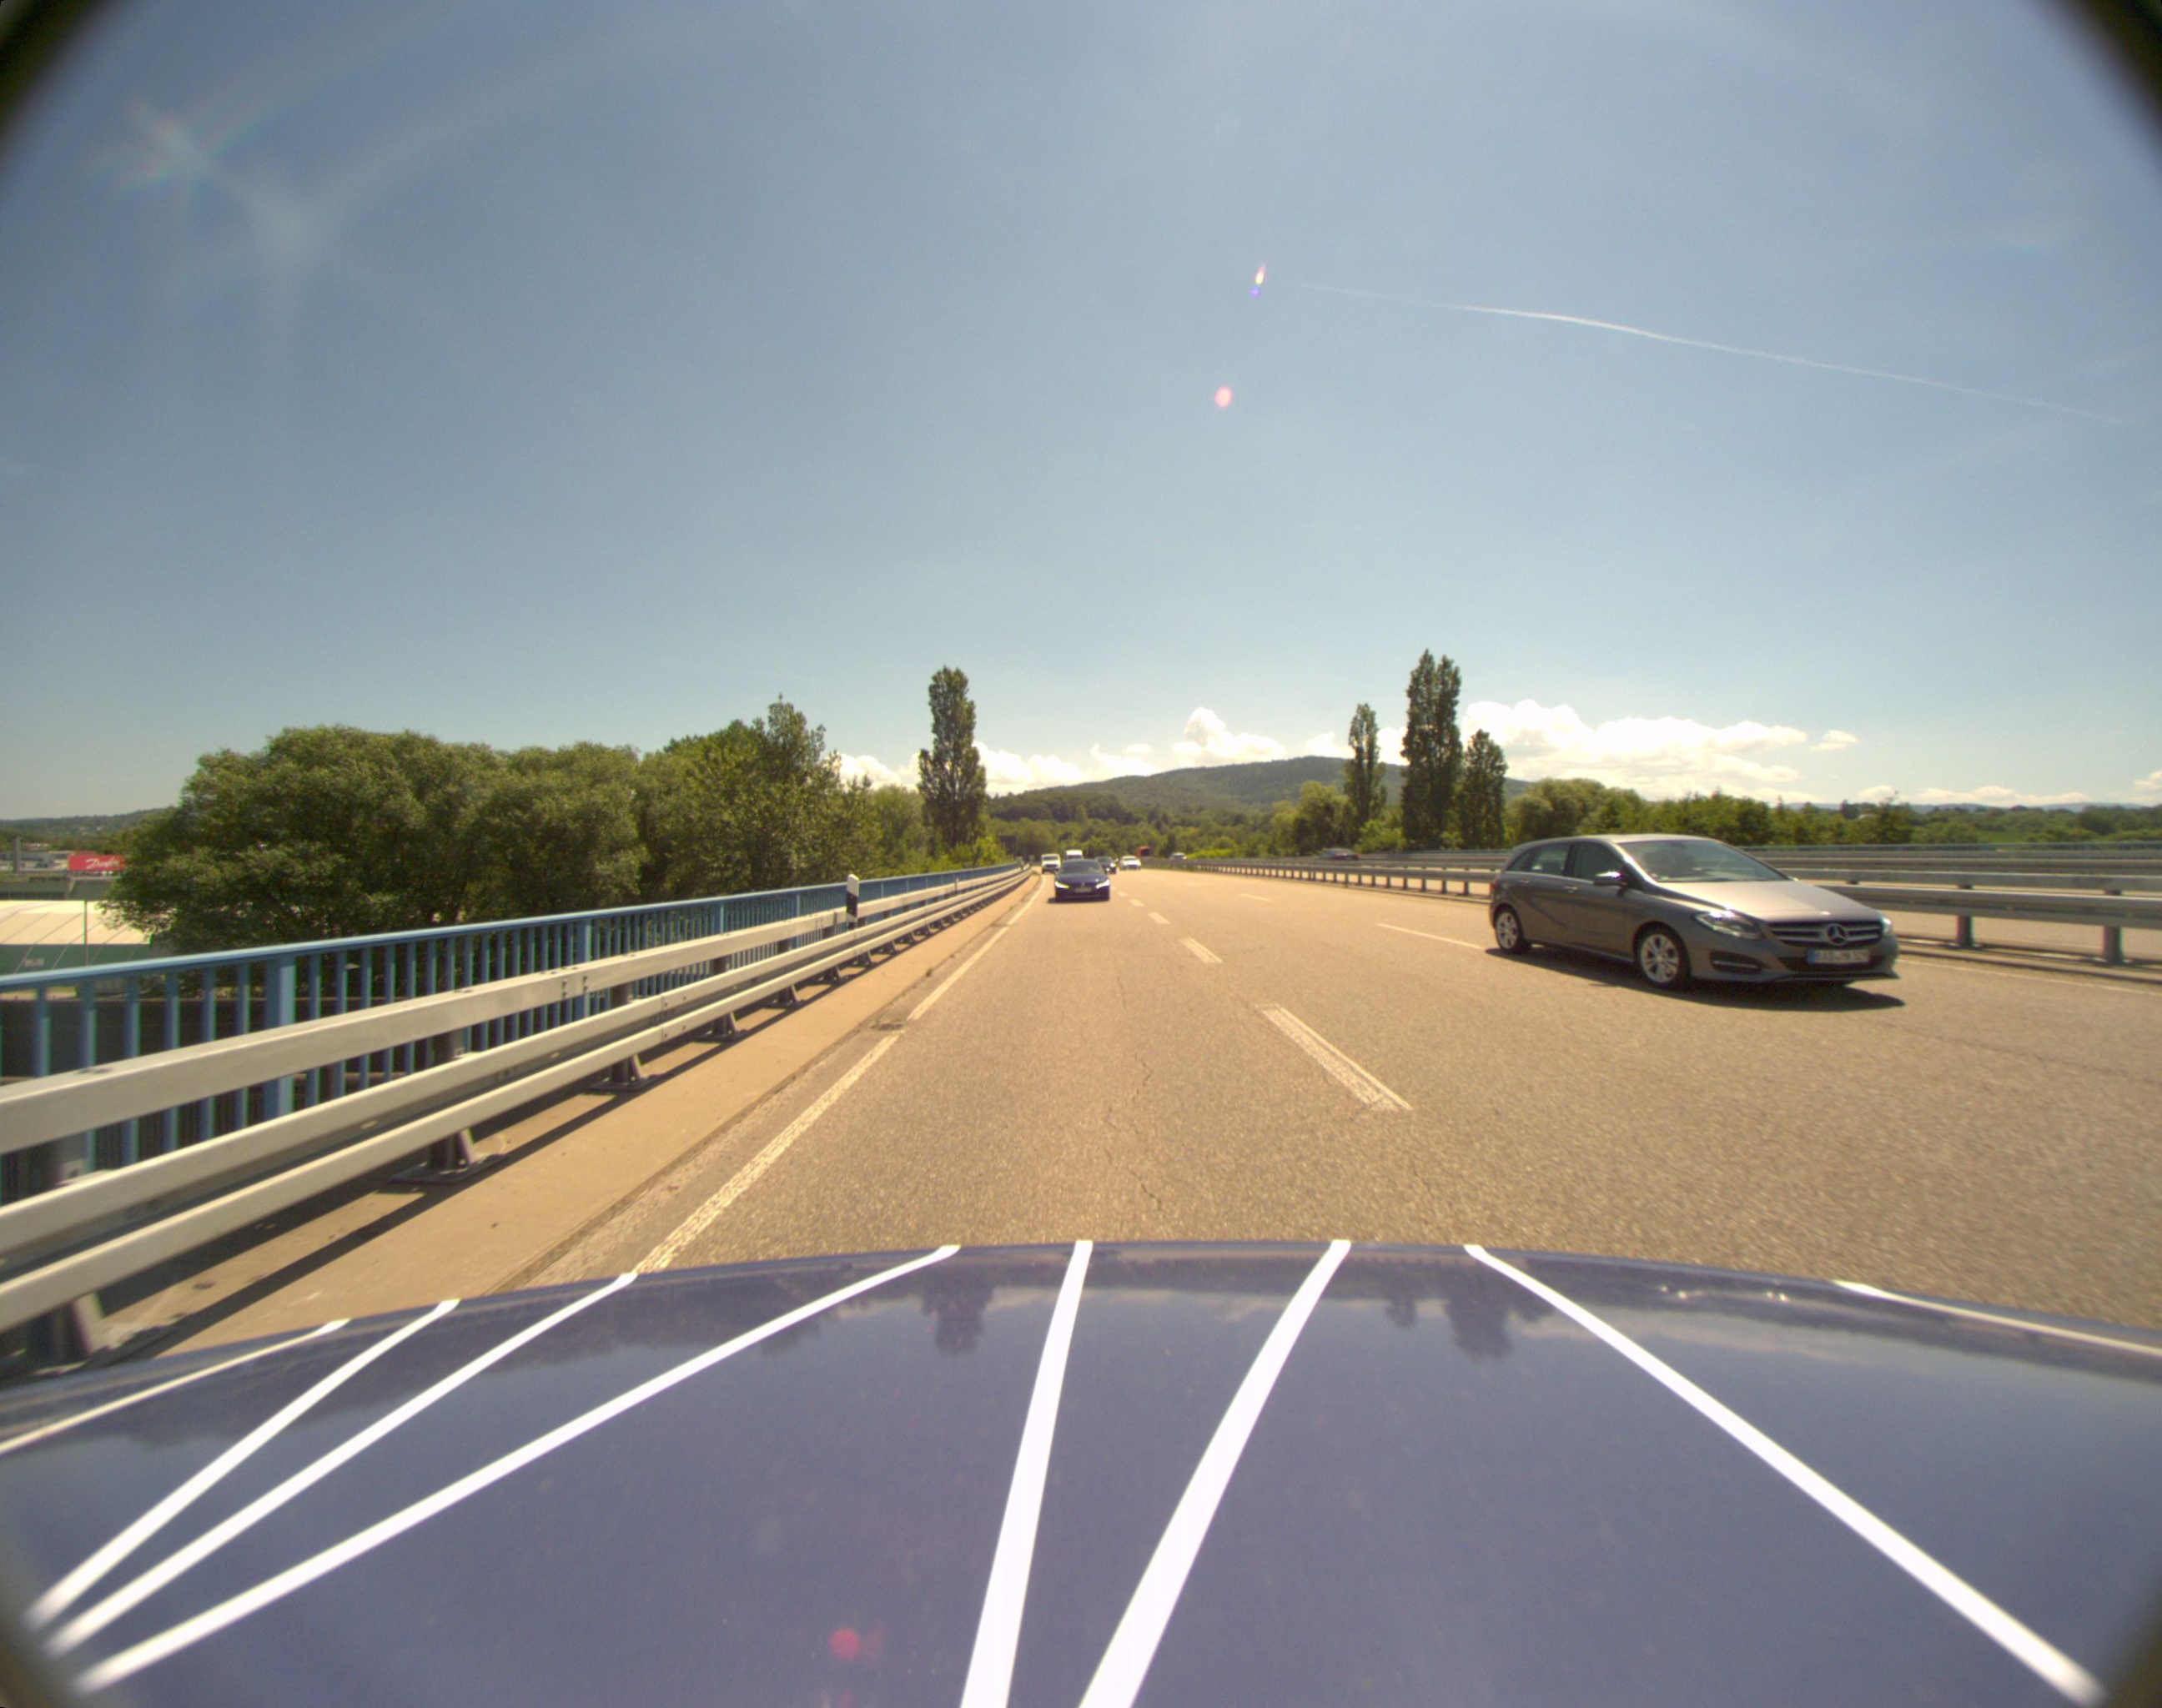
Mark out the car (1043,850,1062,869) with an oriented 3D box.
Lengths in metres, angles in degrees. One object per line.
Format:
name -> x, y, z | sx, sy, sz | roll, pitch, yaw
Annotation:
car -> -2.955, 0.533, 78.331 | 1.885, 1.724, 4.468 | -2, 1, -3

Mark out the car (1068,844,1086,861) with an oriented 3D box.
car -> -0.504, -0.218, 94.672 | 2.008, 1.988, 4.577 | -2, 1, -1

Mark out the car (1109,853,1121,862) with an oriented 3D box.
car -> 5.932, 0.640, 133.915 | 1.729, 1.420, 3.946 | -1, 1, -2

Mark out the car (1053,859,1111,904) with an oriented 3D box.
car -> -0.011, 0.900, 26.812 | 1.846, 1.399, 4.469 | -2, 0, -1

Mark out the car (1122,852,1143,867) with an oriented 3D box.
car -> 5.365, 0.522, 79.874 | 1.846, 1.400, 4.468 | -2, 1, -1

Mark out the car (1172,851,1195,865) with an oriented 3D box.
car -> 11.771, 0.418, 87.282 | 1.910, 1.496, 4.683 | -2, 0, -1

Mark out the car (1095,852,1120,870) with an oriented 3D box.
car -> 2.218, 0.574, 64.540 | 1.846, 1.400, 4.468 | -2, 1, -2

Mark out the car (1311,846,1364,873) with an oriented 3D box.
car -> 17.520, 0.317, 52.077 | 1.848, 1.658, 5.049 | -1, 1, -1

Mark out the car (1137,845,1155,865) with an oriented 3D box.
car -> 10.850, 0.106, 127.584 | 2.311, 3.272, 7.027 | -1, 0, -1

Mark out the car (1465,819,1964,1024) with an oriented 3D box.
car -> 6.484, 0.556, 8.655 | 1.798, 1.658, 4.553 | -2, 0, -1
